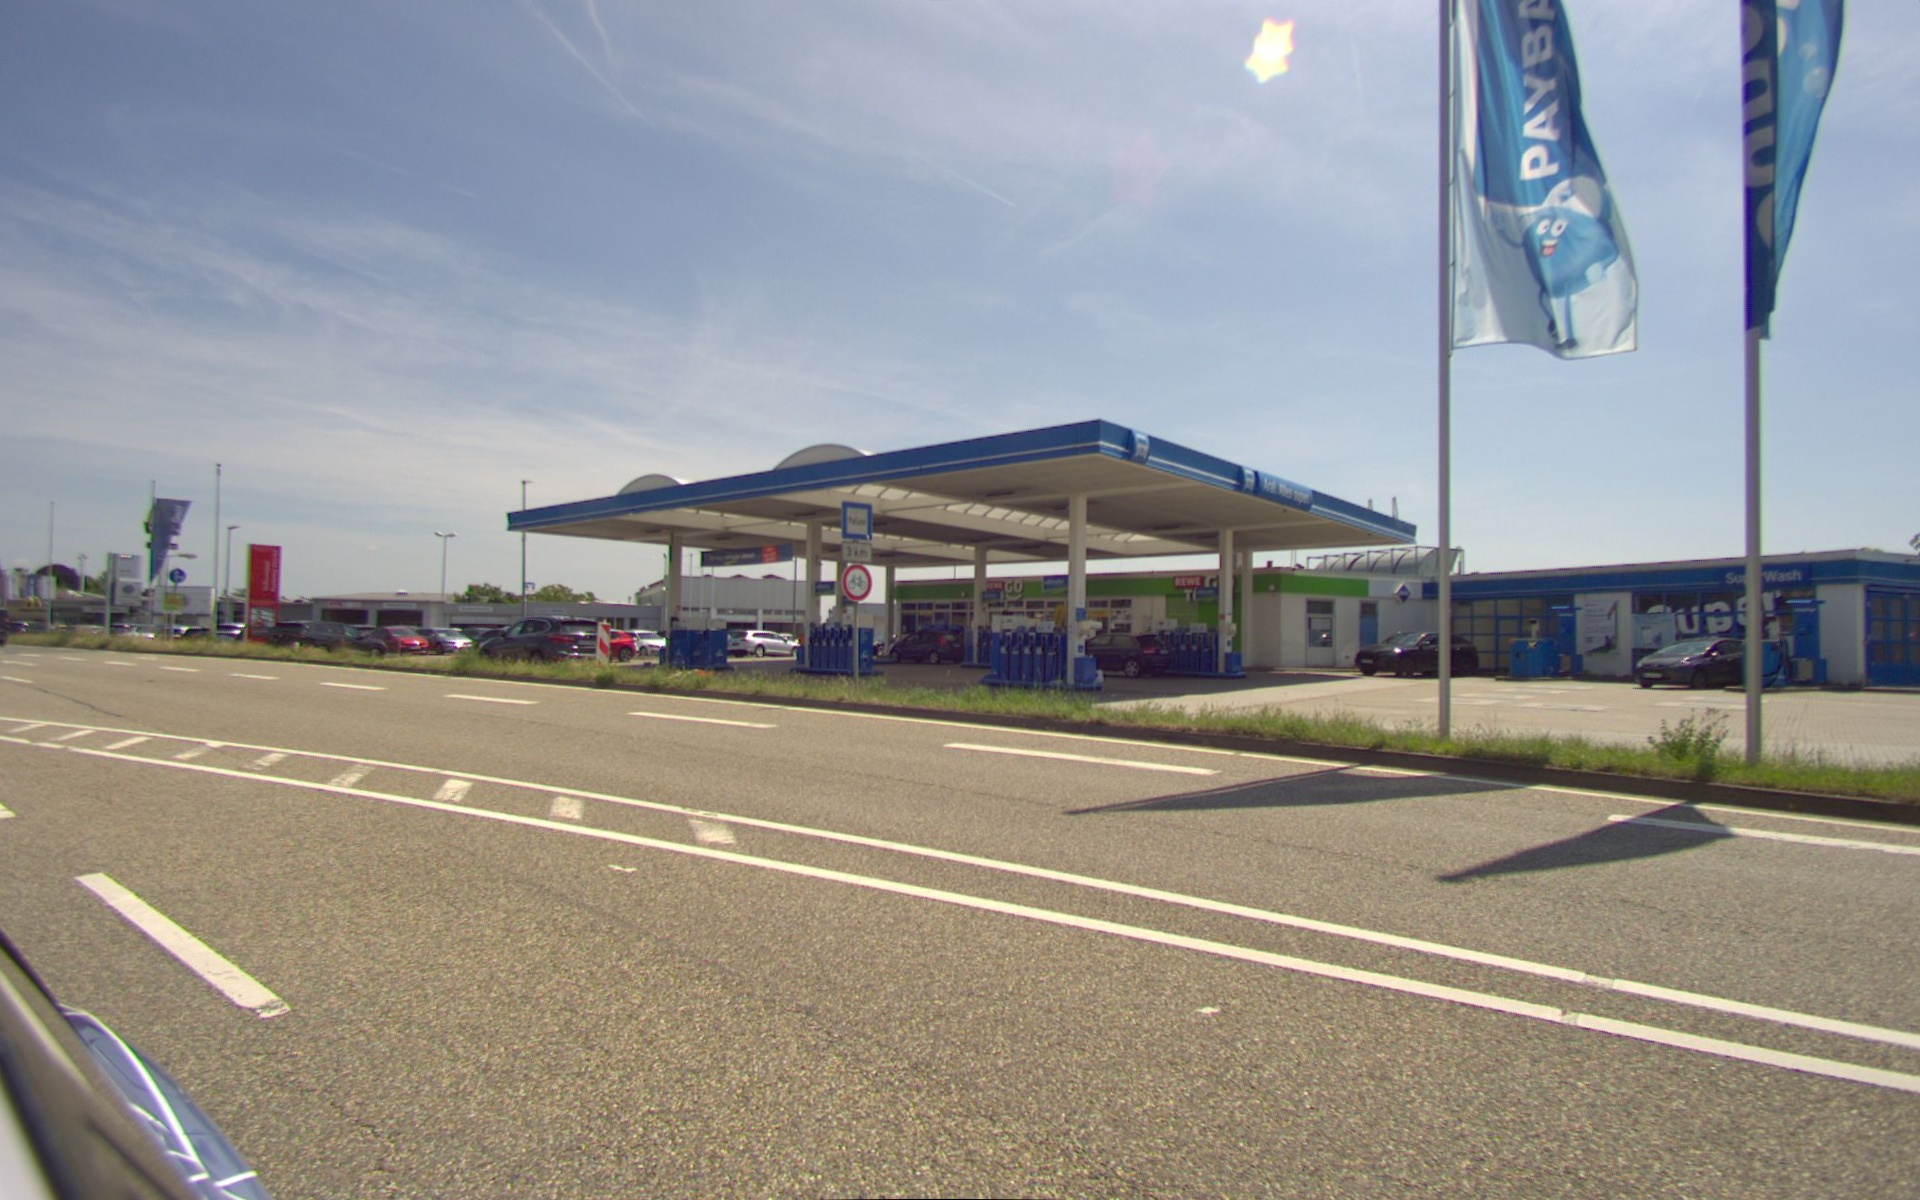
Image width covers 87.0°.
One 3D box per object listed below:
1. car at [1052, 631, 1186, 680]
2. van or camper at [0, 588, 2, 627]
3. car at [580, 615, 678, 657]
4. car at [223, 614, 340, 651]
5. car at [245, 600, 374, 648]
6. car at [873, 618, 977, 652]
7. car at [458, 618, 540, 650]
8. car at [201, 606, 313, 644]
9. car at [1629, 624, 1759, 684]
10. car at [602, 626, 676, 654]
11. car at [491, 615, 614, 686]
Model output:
[{"bbox_3d":[5.111,1.752,32.911,4.105,1.489,1.585,-1,-2,42],"label":"car"},{"bbox_3d":[-50.984,0.359,51.689,5.371,1.950,1.976,-1,-2,36],"label":"van or camper"},{"bbox_3d":[-15.678,1.704,48.017,1.999,1.918,3.945,-1,-2,41],"label":"car"},{"bbox_3d":[-28.734,1.375,43.013,1.802,1.497,3.982,0,-2,14],"label":"car"},{"bbox_3d":[-24.747,0.914,38.655,1.824,1.717,3.983,1,-1,13],"label":"car"},{"bbox_3d":[-1.580,1.525,44.410,4.379,1.389,1.973,-1,-2,40],"label":"car"},{"bbox_3d":[-21.593,1.573,47.375,3.991,1.452,1.691,-1,-2,35],"label":"car"},{"bbox_3d":[-30.925,1.110,44.678,1.760,1.598,4.174,0,-2,6],"label":"car"},{"bbox_3d":[21.281,1.545,29.319,3.934,1.619,1.951,2,-2,-36],"label":"car"},{"bbox_3d":[-17.045,2.106,53.741,3.991,1.406,1.691,-1,-2,35],"label":"car"},{"bbox_3d":[-10.831,1.271,26.744,1.805,1.732,4.578,2,-2,-38],"label":"car"}]
